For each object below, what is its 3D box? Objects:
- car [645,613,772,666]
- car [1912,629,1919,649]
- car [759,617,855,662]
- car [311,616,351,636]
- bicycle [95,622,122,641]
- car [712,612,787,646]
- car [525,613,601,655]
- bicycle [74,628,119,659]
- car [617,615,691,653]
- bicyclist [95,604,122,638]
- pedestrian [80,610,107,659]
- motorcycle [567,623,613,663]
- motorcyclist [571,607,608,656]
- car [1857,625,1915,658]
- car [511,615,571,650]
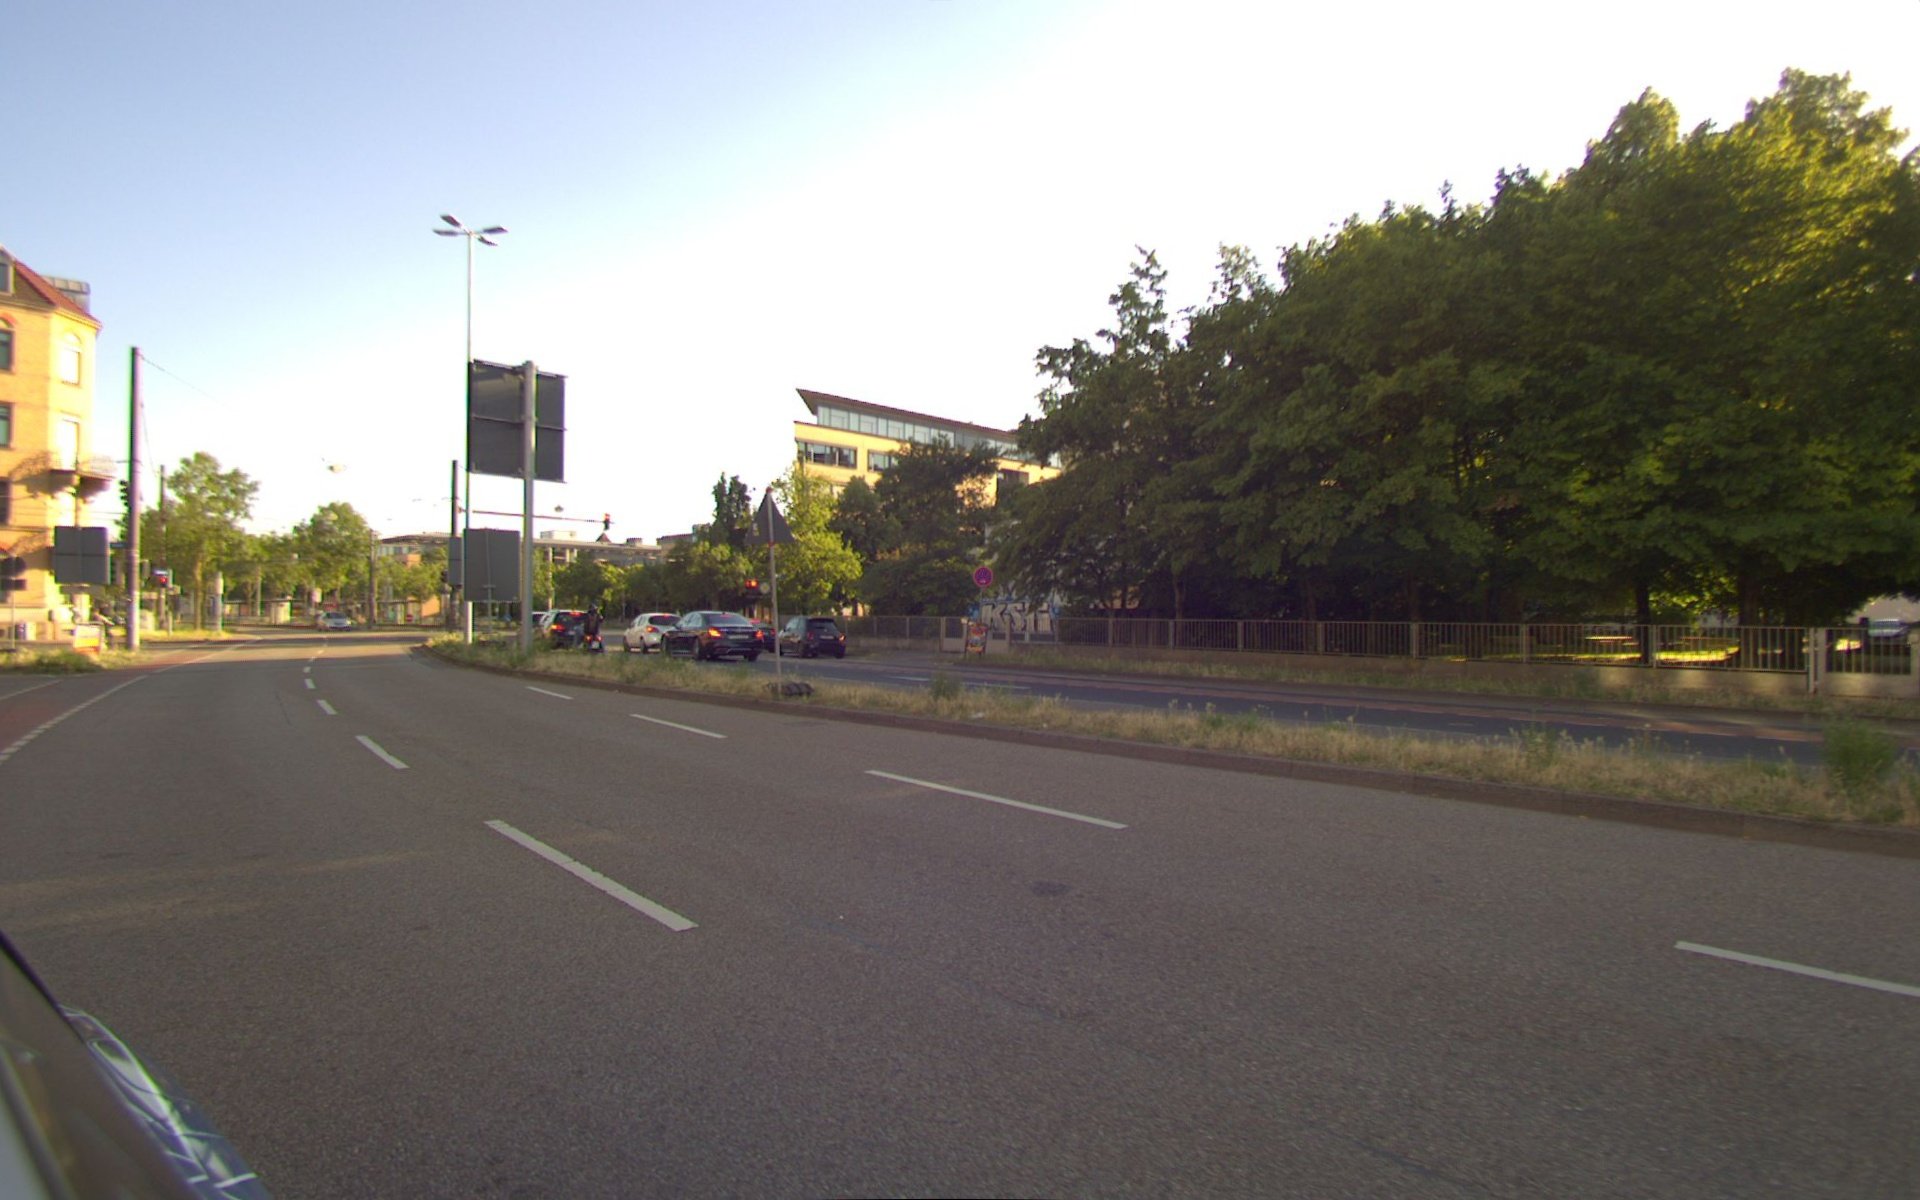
[{"bbox_3d":[-7.931,1.170,31.557,1.967,1.507,5.304,1,-2,-36],"label":"car"},{"bbox_3d":[57.546,2.295,60.052,3.055,1.164,1.350,1,-2,-43],"label":"car"},{"bbox_3d":[-5.546,1.367,36.238,1.829,1.475,4.010,0,-1,-35],"label":"car"},{"bbox_3d":[-51.008,2.063,82.043,1.970,1.586,4.003,2,-2,-44],"label":"car"},{"bbox_3d":[-46.711,1.717,55.512,1.055,1.032,2.979,1,-2,-41],"label":"bicycle"},{"bbox_3d":[-8.630,1.180,41.276,1.695,1.306,3.905,1,-1,-32],"label":"car"},{"bbox_3d":[-13.289,1.101,33.737,1.695,1.306,4.390,1,-1,-30],"label":"car"},{"bbox_3d":[-29.411,1.472,34.477,0.393,1.037,1.676,1,-1,-12],"label":"bicycle"},{"bbox_3d":[-11.629,1.260,38.274,1.695,1.329,3.905,1,-1,-32],"label":"car"},{"bbox_3d":[-46.734,1.142,55.550,1.055,1.856,1.305,1,-2,-41],"label":"bicyclist"},{"bbox_3d":[-29.481,1.158,34.438,0.481,1.644,0.527,1,-1,-12],"label":"pedestrian"},{"bbox_3d":[-10.886,1.250,29.728,0.847,1.116,2.477,1,-1,-30],"label":"motorcycle"},{"bbox_3d":[-10.887,0.909,29.738,0.840,1.409,1.065,1,-2,-30],"label":"motorcyclist"},{"bbox_3d":[46.268,2.043,50.536,2.001,1.533,3.634,-1,-2,44],"label":"car"},{"bbox_3d":[-16.432,1.256,39.607,1.694,1.306,4.262,1,-1,-29],"label":"car"}]
